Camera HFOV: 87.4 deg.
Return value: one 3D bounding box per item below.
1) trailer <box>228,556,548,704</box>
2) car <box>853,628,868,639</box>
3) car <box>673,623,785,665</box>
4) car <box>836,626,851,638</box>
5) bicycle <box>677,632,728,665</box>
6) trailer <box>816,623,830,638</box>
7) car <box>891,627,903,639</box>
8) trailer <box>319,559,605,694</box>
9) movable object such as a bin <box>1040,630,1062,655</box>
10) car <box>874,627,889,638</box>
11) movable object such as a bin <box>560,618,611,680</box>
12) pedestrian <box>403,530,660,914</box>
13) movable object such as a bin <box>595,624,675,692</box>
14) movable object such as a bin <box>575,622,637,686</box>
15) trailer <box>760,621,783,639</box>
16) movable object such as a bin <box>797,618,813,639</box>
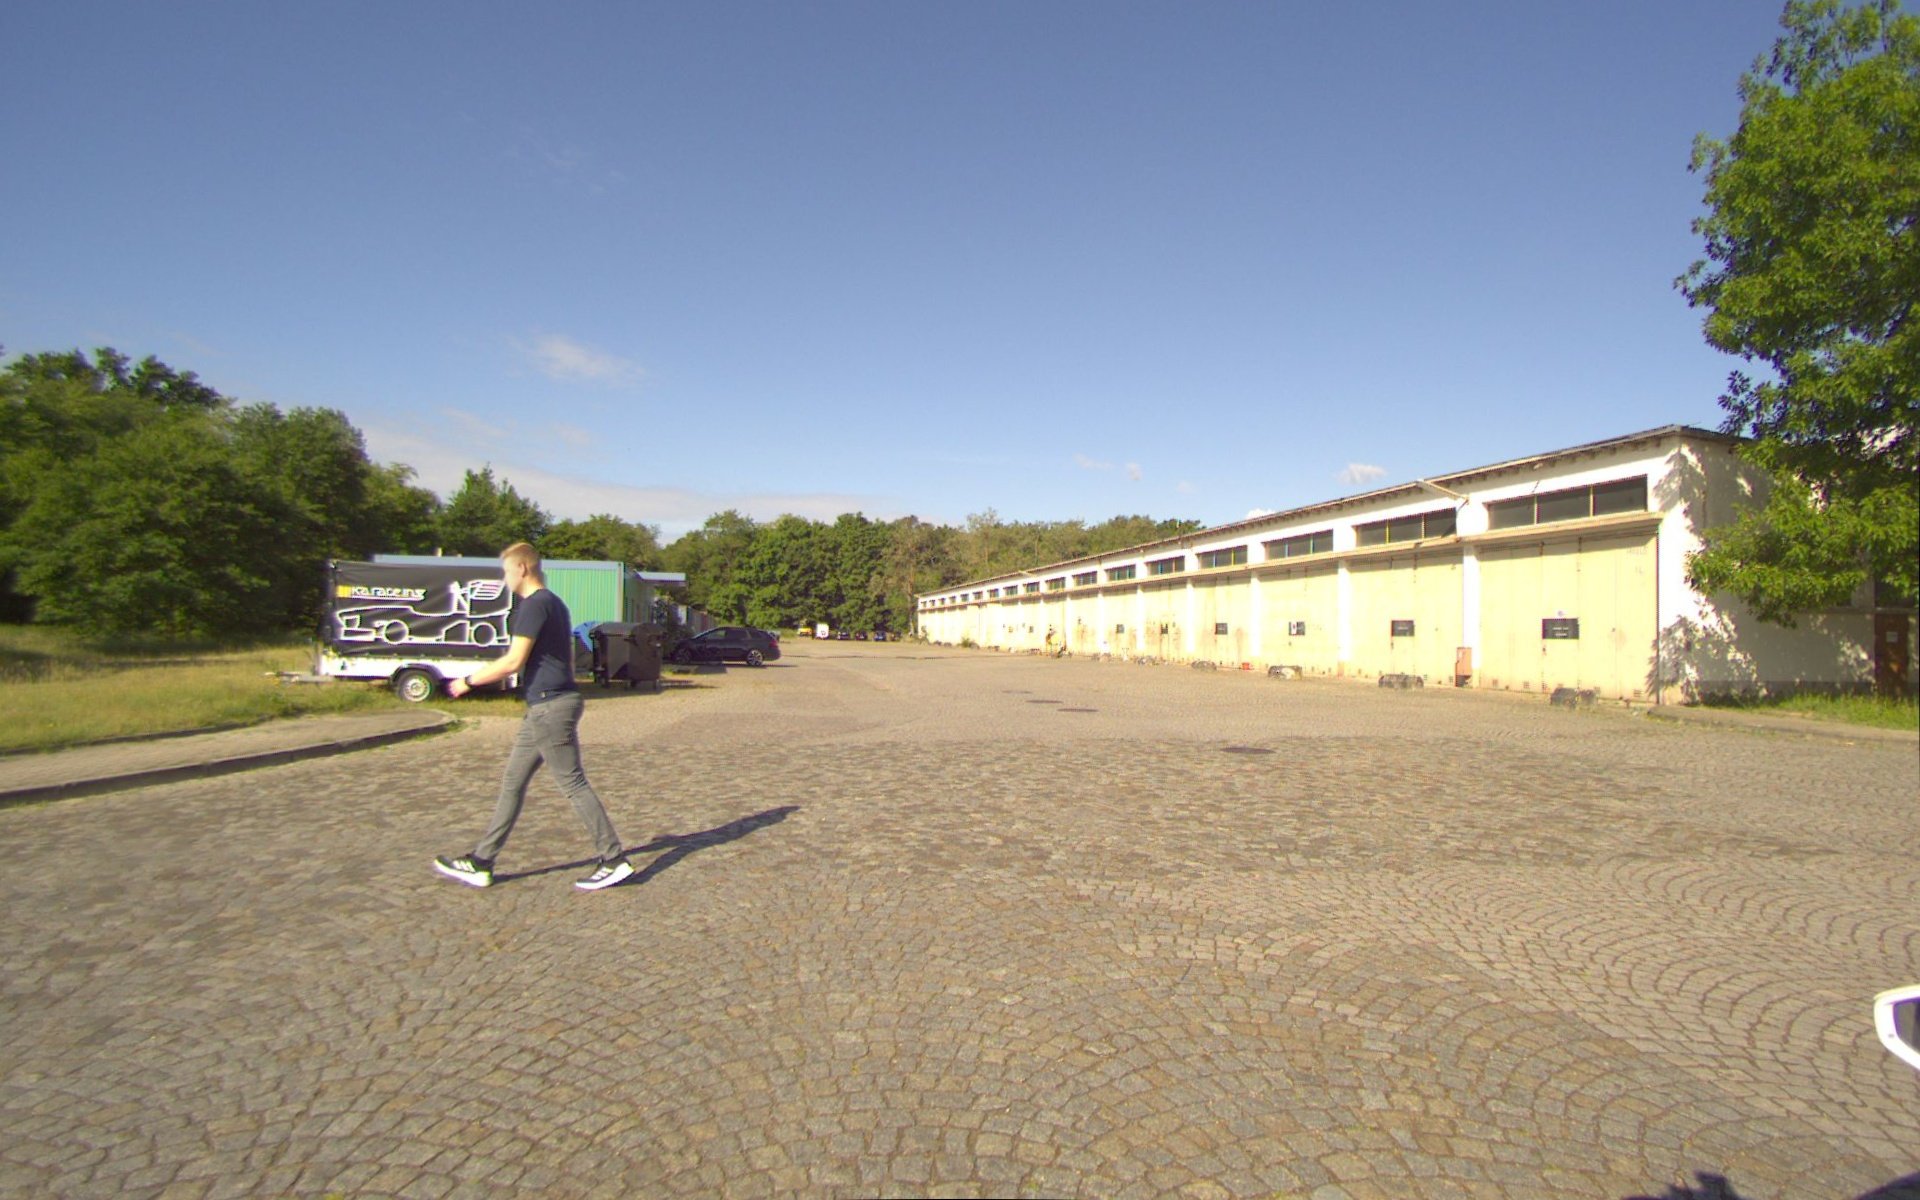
[{"bbox_3d":[-9.844,0.564,17.705,4.390,2.302,2.010,2,-2,-12],"label":"trailer"},{"bbox_3d":[-13.545,4.517,136.927,1.962,1.482,3.998,1,-2,-4],"label":"car"},{"bbox_3d":[-8.752,1.684,38.036,3.998,1.431,1.725,3,-2,-17],"label":"car"},{"bbox_3d":[-15.855,4.359,136.259,1.832,1.606,3.998,1,-2,-4],"label":"car"},{"bbox_3d":[-9.265,1.741,36.226,1.684,1.116,0.672,3,-2,-12],"label":"bicycle"},{"bbox_3d":[-18.698,4.171,137.404,1.766,2.117,3.967,1,-2,-7],"label":"trailer"},{"bbox_3d":[-8.781,4.528,139.280,1.658,1.584,3.998,1,-2,-4],"label":"car"},{"bbox_3d":[-9.759,0.585,20.148,4.778,2.422,1.936,2,-2,-17],"label":"trailer"},{"bbox_3d":[5.034,2.369,55.594,0.812,1.349,1.276,1,-2,-16],"label":"movable object such as a bin"},{"bbox_3d":[-10.759,4.512,137.463,1.962,1.438,3.998,1,-2,-4],"label":"car"},{"bbox_3d":[-9.188,1.195,24.635,1.073,1.455,1.401,1,-2,-23],"label":"movable object such as a bin"},{"bbox_3d":[-2.321,0.637,5.598,1.122,1.939,0.798,1,-2,-11],"label":"pedestrian"},{"bbox_3d":[-7.044,1.238,21.759,1.342,1.404,1.044,0,-2,36],"label":"movable object such as a bin"},{"bbox_3d":[-8.172,1.235,23.253,1.064,1.404,1.367,1,-2,-8],"label":"movable object such as a bin"},{"bbox_3d":[-21.990,3.495,117.232,2.371,2.040,4.167,3,-2,-9],"label":"trailer"},{"bbox_3d":[-21.158,3.875,137.182,1.963,2.652,3.996,3,-2,-7],"label":"movable object such as a bin"}]
